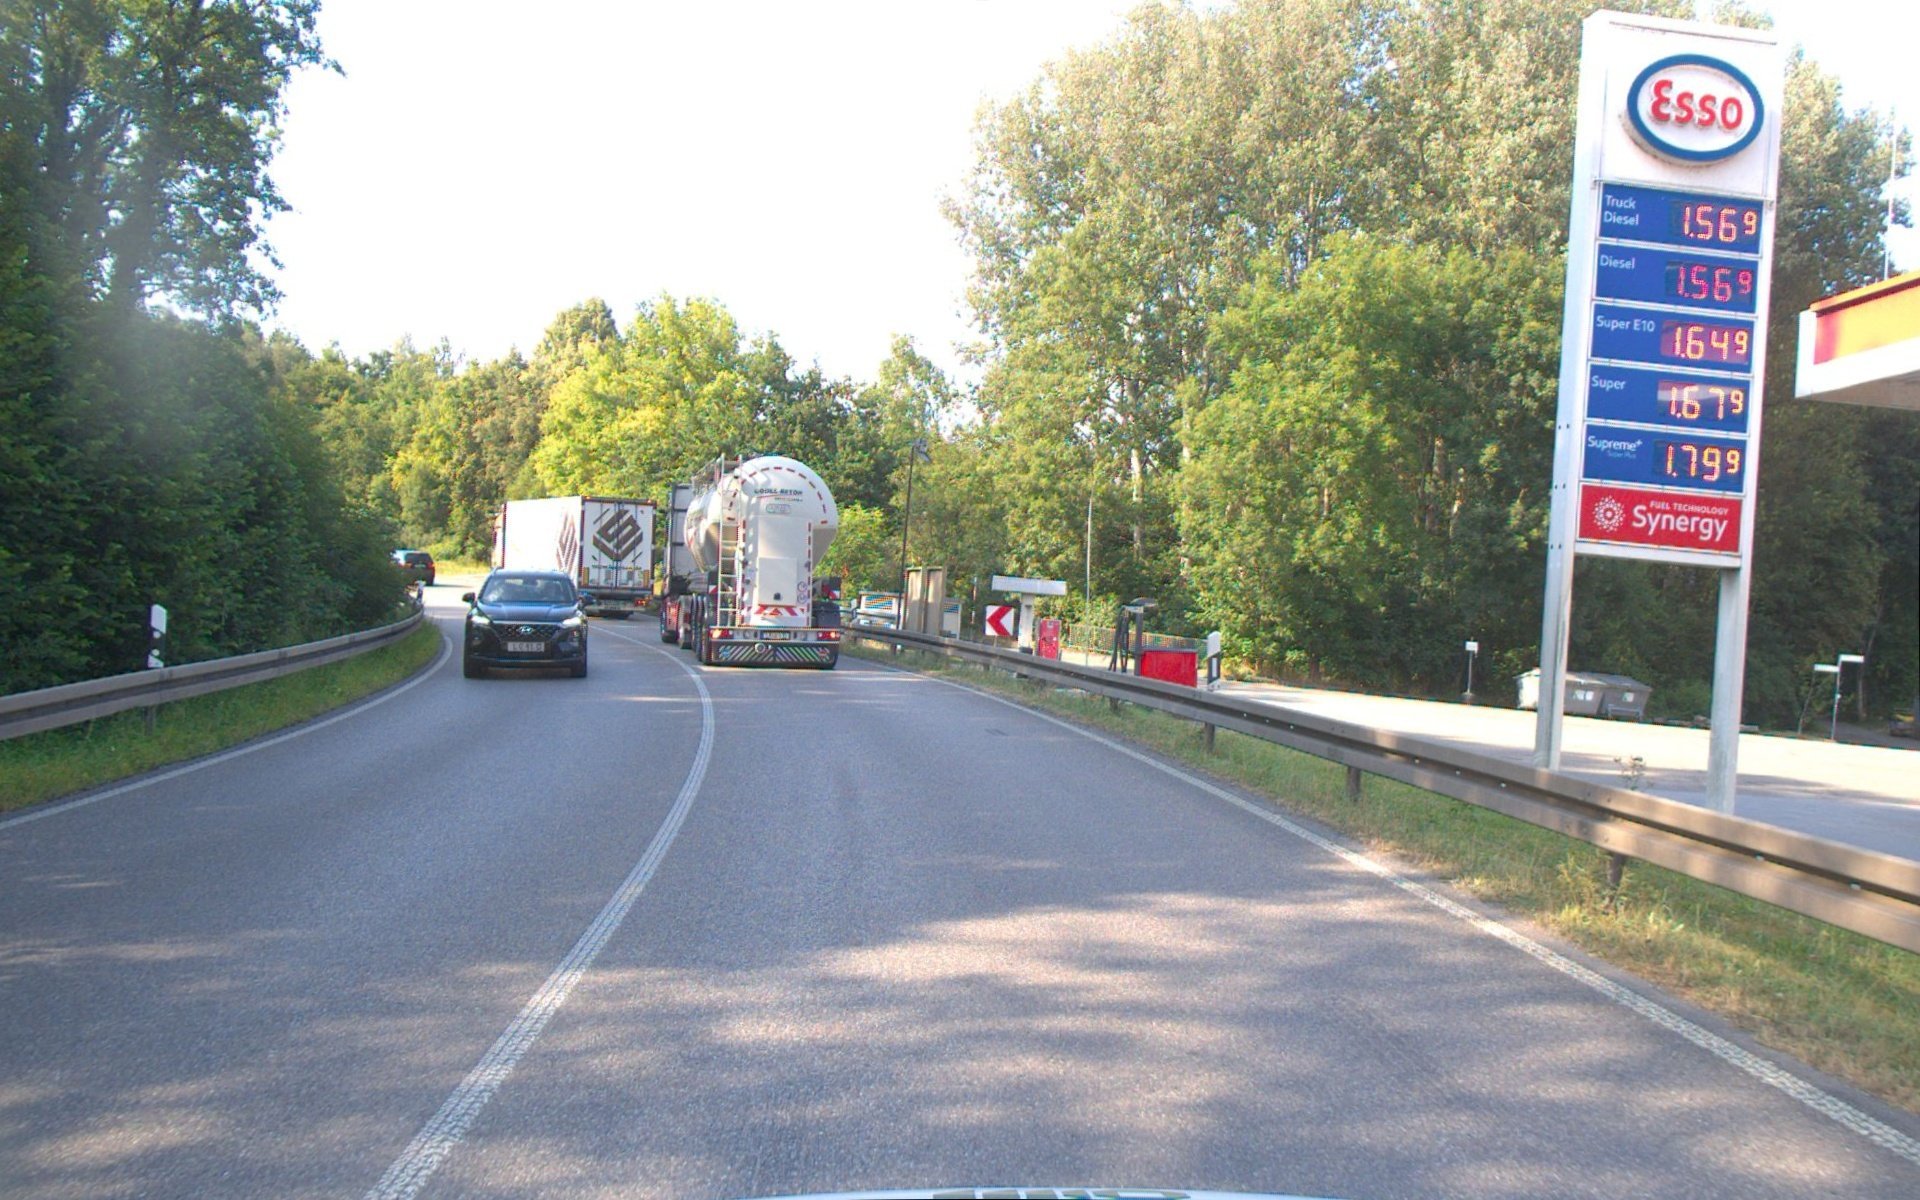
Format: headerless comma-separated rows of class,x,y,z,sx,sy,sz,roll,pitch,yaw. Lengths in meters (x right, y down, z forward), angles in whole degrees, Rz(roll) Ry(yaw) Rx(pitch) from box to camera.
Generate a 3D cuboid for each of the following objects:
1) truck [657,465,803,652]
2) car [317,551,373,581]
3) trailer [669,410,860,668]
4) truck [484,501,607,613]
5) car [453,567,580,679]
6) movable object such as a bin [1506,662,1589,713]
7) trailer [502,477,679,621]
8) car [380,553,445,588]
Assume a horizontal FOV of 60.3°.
truck,-5.662,-0.947,39.861,2.777,4.105,5.872,1,0,-14
car,-34.177,-1.902,91.866,1.853,1.592,3.949,1,2,-36
trailer,-4.323,-1.123,34.398,2.837,4.532,9.574,2,0,-13
truck,-17.009,-1.748,67.542,3.409,4.157,6.436,3,0,-27
car,-7.275,0.310,27.092,1.837,1.682,4.530,1,1,-16
movable object such as a bin,19.788,2.936,55.785,1.247,1.444,2.544,6,-1,-19
trailer,-13.870,-1.813,60.865,3.501,4.591,12.882,3,0,-25
car,-27.910,-1.511,84.213,1.856,1.656,3.944,1,2,-39
